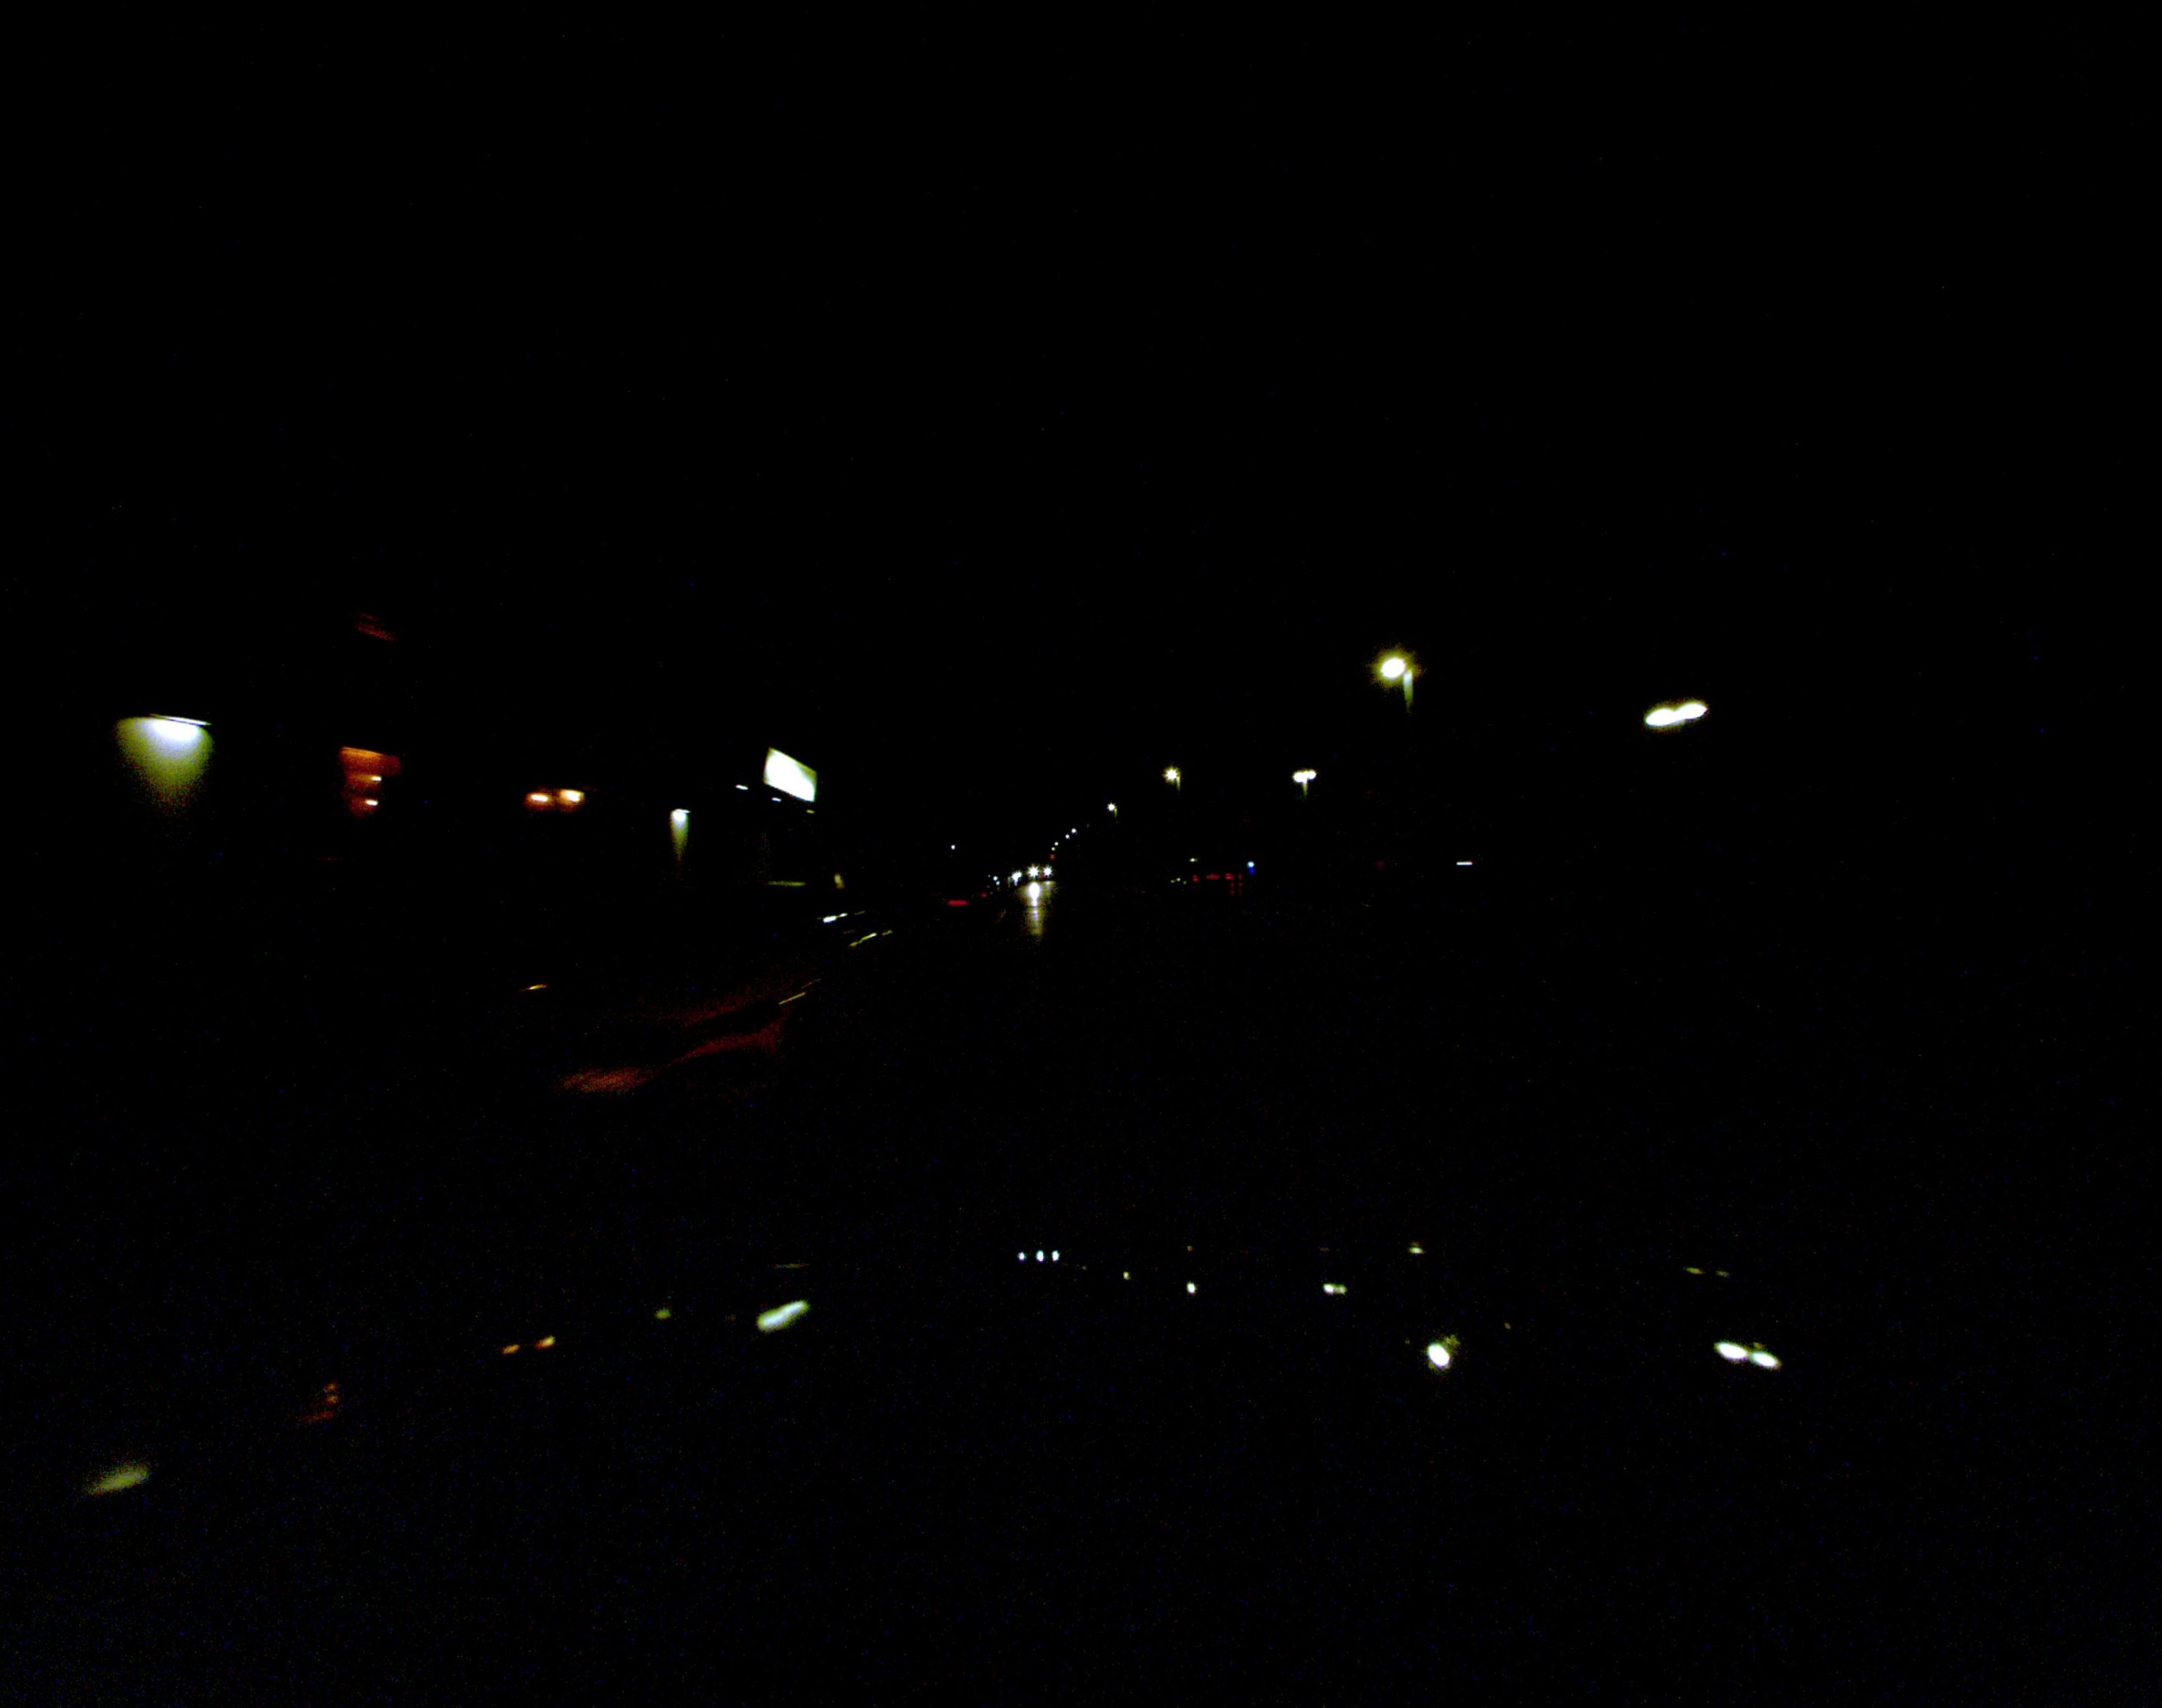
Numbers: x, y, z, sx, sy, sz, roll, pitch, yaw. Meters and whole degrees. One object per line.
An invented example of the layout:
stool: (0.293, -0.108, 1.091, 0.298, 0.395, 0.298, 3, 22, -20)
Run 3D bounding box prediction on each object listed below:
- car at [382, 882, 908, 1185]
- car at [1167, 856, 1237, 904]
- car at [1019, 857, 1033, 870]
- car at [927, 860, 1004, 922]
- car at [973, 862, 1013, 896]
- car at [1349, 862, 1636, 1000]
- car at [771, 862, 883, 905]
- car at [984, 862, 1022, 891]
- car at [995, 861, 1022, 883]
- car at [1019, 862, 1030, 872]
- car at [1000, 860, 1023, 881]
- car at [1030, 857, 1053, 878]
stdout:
car: (-2.850, 1.045, 6.370, 1.862, 1.433, 4.593, 0, 0, -2)
car: (4.405, 0.904, 28.073, 1.696, 1.515, 3.689, -2, 1, -4)
car: (-6.798, 1.144, 93.836, 1.657, 1.465, 3.516, -2, 0, -5)
car: (-3.321, 1.004, 22.622, 1.792, 1.632, 4.379, 0, 0, -2)
car: (-4.319, 1.195, 37.861, 1.785, 1.429, 4.288, -3, 0, -5)
car: (5.356, 0.891, 10.604, 1.696, 1.428, 4.127, -3, 0, 0)
car: (-10.434, 1.155, 31.323, 4.076, 1.576, 1.703, -1, 1, -34)
car: (-4.351, 1.218, 42.932, 1.681, 1.439, 4.611, -3, 0, -1)
car: (-5.164, 1.246, 54.497, 1.767, 1.407, 4.438, -2, 0, -5)
car: (-8.689, 1.936, 116.634, 1.702, 1.447, 3.712, -2, 0, -5)
car: (-5.397, 1.261, 59.404, 1.643, 1.458, 3.774, -3, 0, -4)
car: (-3.104, 1.017, 59.241, 1.628, 1.495, 3.548, -2, 0, -5)
